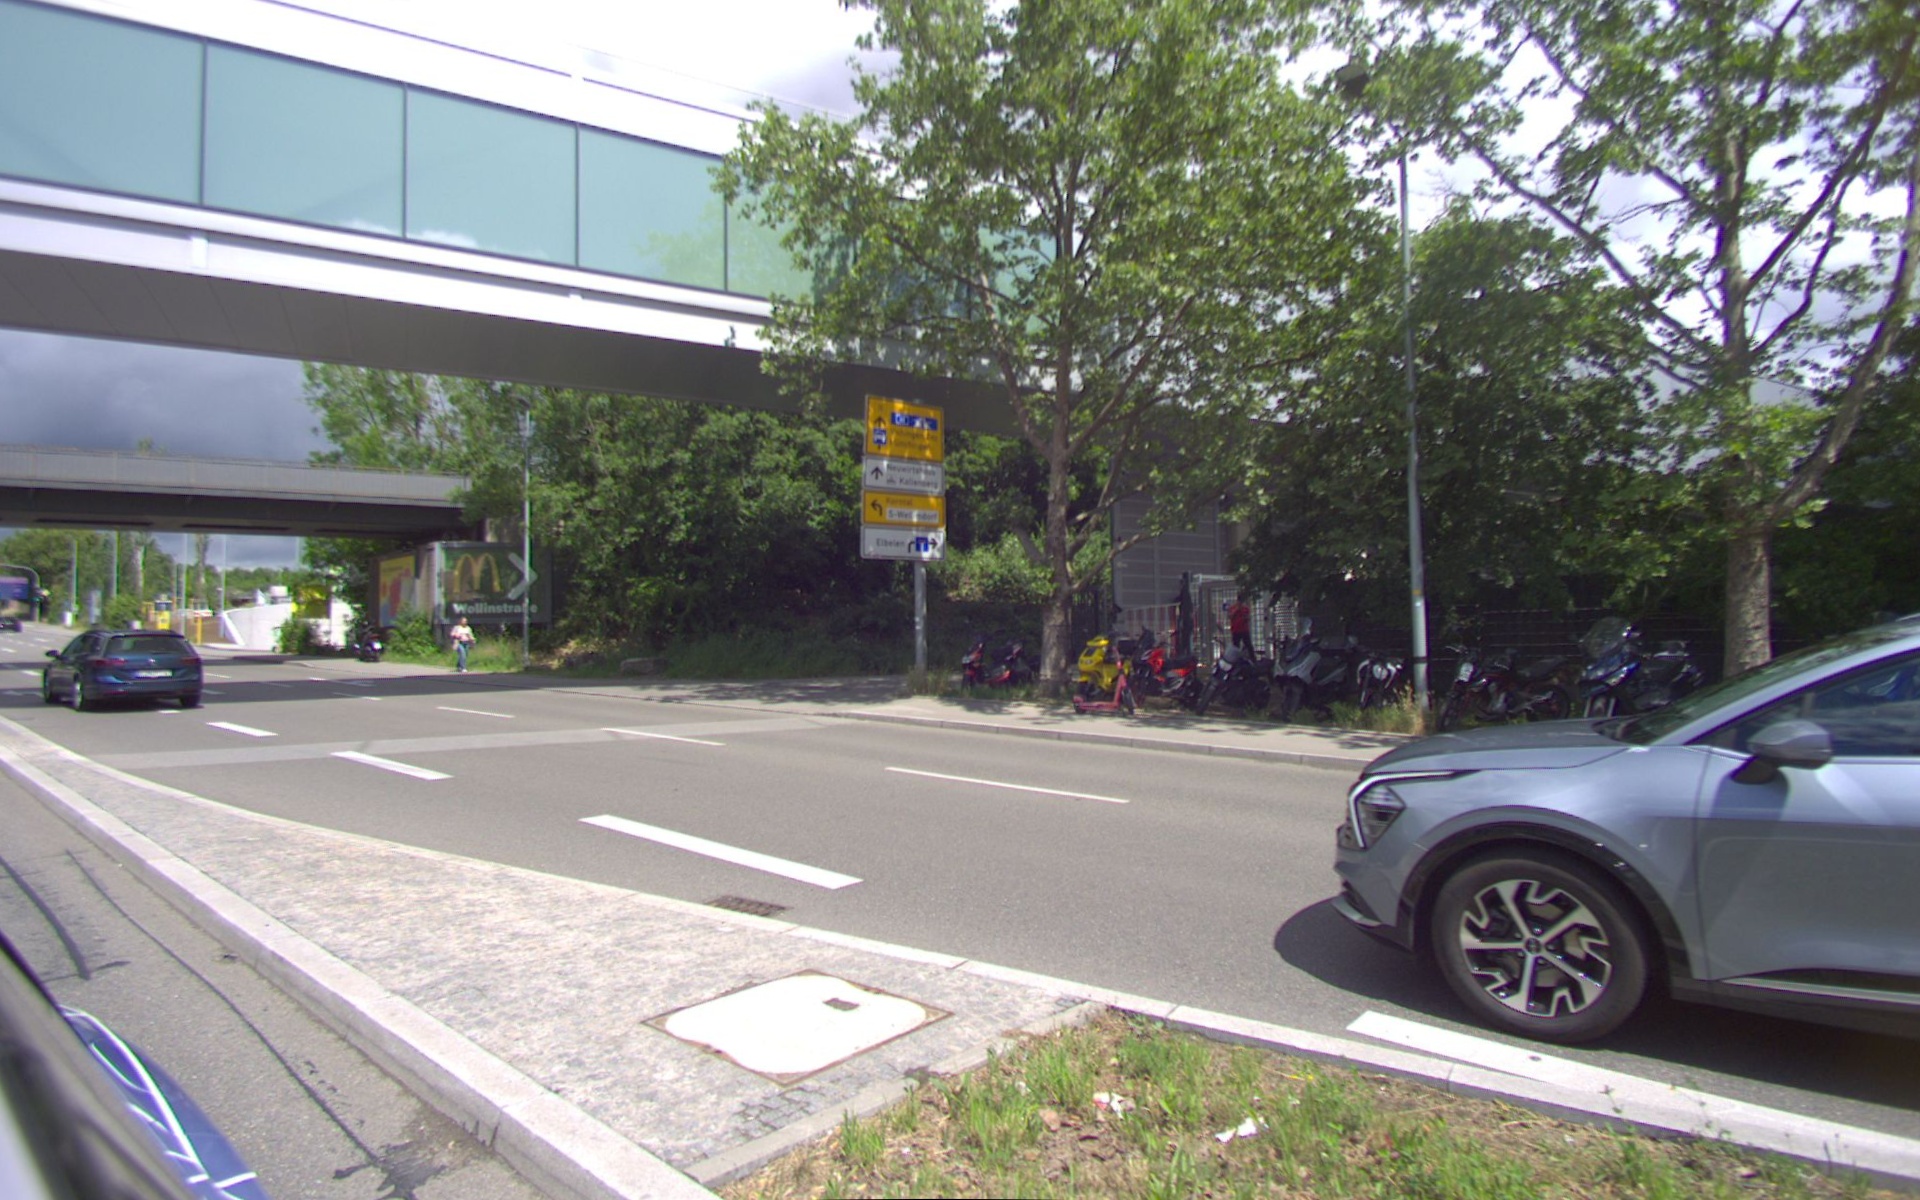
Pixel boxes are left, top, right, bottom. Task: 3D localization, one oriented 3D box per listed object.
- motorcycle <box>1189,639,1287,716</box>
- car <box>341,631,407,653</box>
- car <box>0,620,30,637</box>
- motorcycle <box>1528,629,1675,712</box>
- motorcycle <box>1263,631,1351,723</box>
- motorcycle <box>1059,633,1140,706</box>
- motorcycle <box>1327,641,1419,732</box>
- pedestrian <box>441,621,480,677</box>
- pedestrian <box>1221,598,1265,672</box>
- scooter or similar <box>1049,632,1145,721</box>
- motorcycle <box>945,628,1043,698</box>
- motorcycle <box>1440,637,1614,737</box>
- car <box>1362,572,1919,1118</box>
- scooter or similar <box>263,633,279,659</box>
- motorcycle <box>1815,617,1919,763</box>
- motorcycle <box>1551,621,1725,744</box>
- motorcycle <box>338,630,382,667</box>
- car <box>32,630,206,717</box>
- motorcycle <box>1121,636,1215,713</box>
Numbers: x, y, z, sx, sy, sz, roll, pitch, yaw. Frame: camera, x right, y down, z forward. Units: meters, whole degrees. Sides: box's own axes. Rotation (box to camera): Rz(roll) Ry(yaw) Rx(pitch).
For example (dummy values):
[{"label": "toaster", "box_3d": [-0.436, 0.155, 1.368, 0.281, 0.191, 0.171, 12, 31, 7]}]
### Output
[{"label": "motorcycle", "box_3d": [4.284, 1.167, 15.552, 0.776, 1.041, 1.574, -4, -2, 42]}, {"label": "car", "box_3d": [-45.009, 3.254, 77.809, 1.957, 1.630, 3.947, -1, -3, 39]}, {"label": "car", "box_3d": [-78.876, 2.374, 84.174, 4.000, 1.364, 1.972, -1, -3, 43]}, {"label": "motorcycle", "box_3d": [9.892, 1.061, 15.616, 1.904, 1.124, 0.924, -2, -1, -22]}, {"label": "motorcycle", "box_3d": [5.054, 1.089, 14.664, 0.849, 1.188, 1.734, -3, -1, 30]}, {"label": "motorcycle", "box_3d": [2.433, 1.187, 17.544, 0.773, 1.131, 1.579, -3, -1, 32]}, {"label": "motorcycle", "box_3d": [5.700, 1.159, 13.887, 0.918, 1.124, 1.918, 0, -3, 30]}, {"label": "pedestrian", "box_3d": [-14.848, 1.444, 30.070, 0.813, 1.624, 0.760, -1, 0, 40]}, {"label": "pedestrian", "box_3d": [6.697, 0.816, 23.979, 0.876, 1.714, 0.981, 0, -2, 10]}, {"label": "scooter or similar", "box_3d": [2.044, 1.124, 15.183, 1.479, 1.245, 0.350, 0, 0, 41]}, {"label": "motorcycle", "box_3d": [0.649, 1.156, 18.896, 1.720, 1.180, 0.777, -2, -2, -41]}, {"label": "motorcycle", "box_3d": [7.365, 1.088, 13.151, 1.904, 1.124, 0.924, -2, -1, -22]}, {"label": "car", "box_3d": [3.882, 0.739, 3.483, 4.287, 1.643, 1.887, -2, -2, 38]}, {"label": "scooter or similar", "box_3d": [-30.593, 2.037, 44.926, 0.470, 1.129, 1.387, 2, -3, -37]}, {"label": "motorcycle", "box_3d": [10.011, 0.892, 10.629, 1.905, 1.354, 0.867, -2, -1, -28]}, {"label": "motorcycle", "box_3d": [8.198, 0.951, 12.233, 1.905, 1.300, 0.895, -2, -1, -28]}, {"label": "motorcycle", "box_3d": [-21.128, 1.691, 35.626, 2.256, 1.207, 0.633, -1, 1, 41]}, {"label": "car", "box_3d": [-16.023, 1.310, 19.213, 4.474, 1.464, 1.692, -2, -2, 39]}, {"label": "motorcycle", "box_3d": [3.445, 1.205, 16.675, 0.776, 1.131, 1.574, -4, -2, 42]}]
